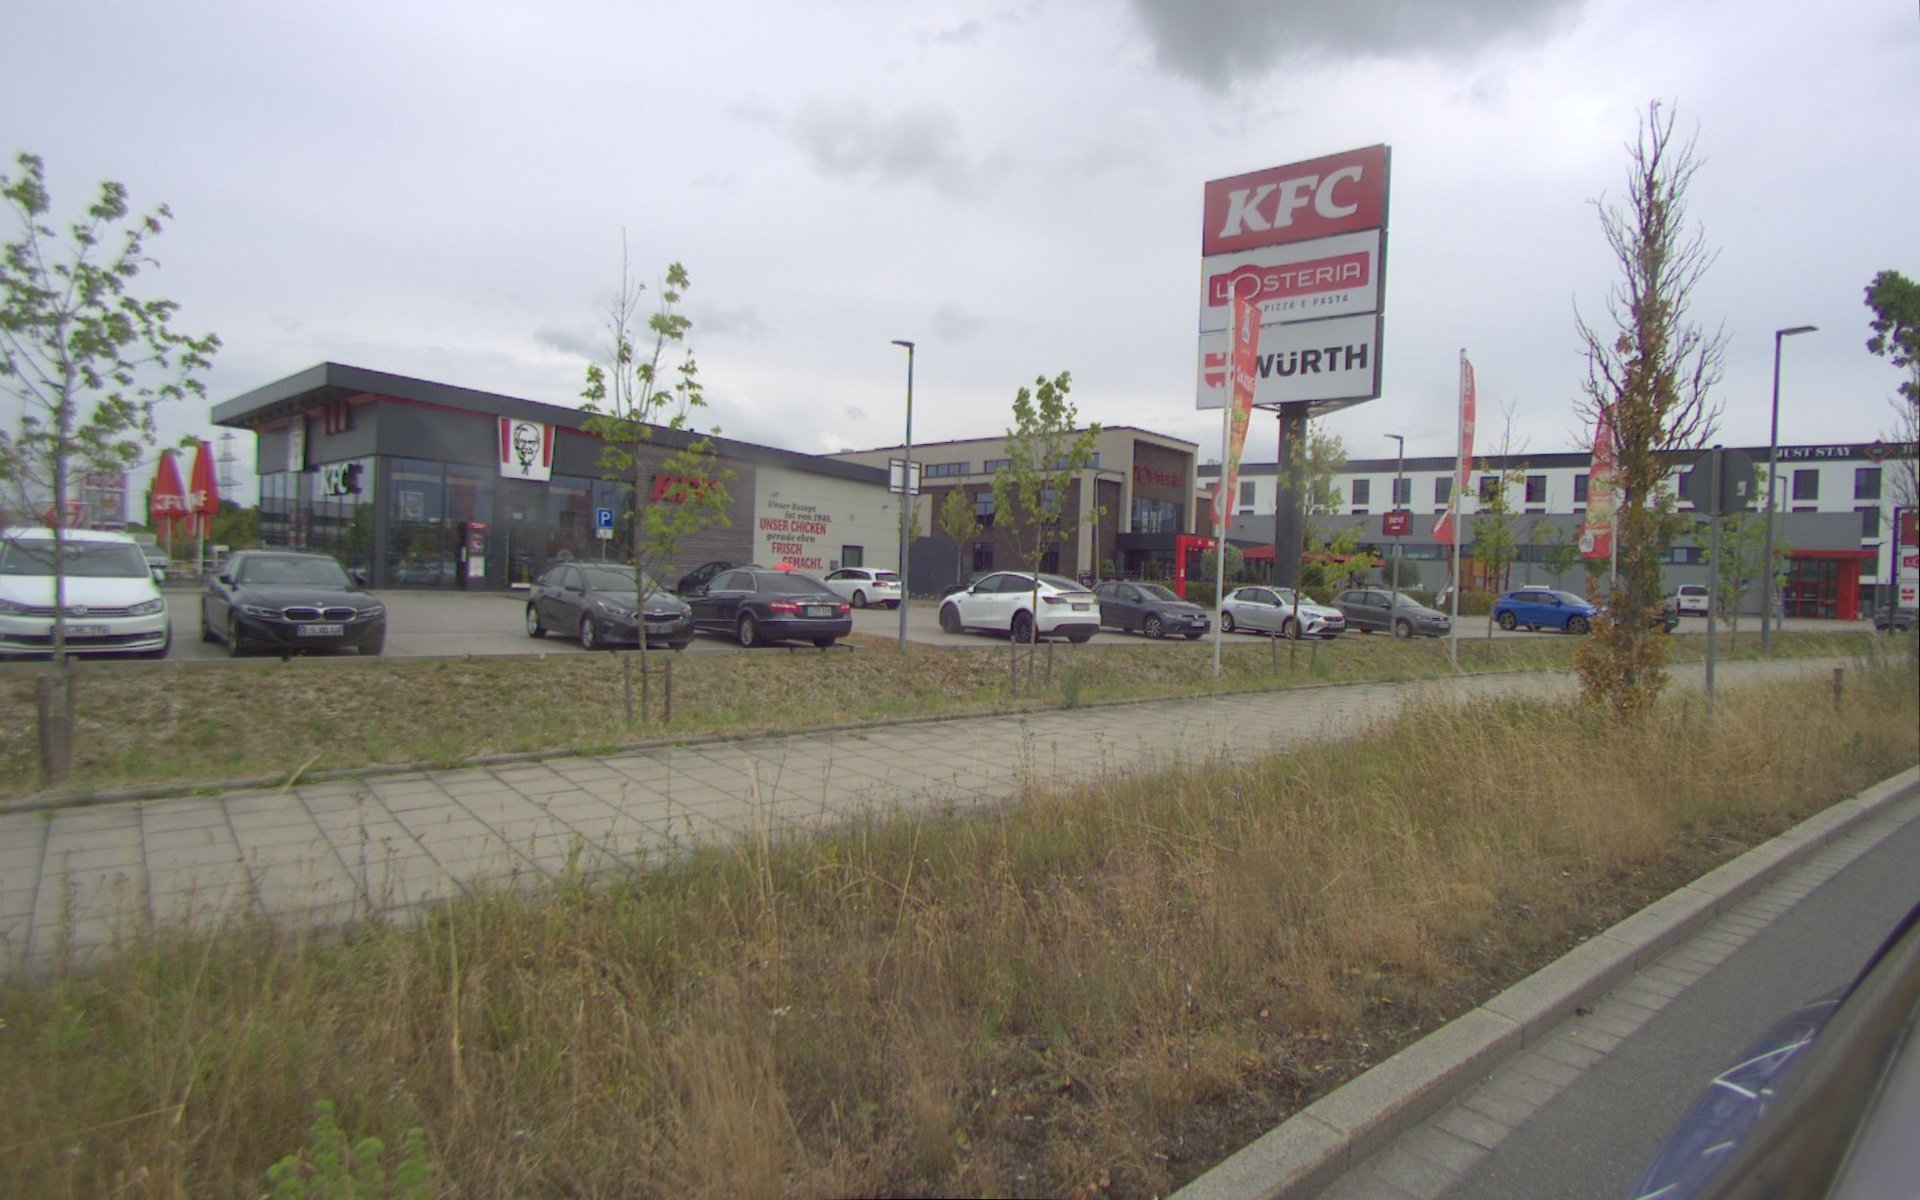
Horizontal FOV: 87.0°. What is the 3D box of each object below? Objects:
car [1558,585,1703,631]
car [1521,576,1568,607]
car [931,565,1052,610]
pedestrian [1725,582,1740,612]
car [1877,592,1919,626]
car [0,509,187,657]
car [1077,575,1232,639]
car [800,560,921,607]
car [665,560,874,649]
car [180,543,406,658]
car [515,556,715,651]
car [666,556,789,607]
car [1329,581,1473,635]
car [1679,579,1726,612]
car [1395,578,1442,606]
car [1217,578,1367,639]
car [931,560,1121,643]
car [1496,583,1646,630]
[{"bbox_3d":[24.564,0.259,37.235,1.940,1.512,4.008,1,1,-24],"label":"car"},{"bbox_3d":[34.417,-0.480,59.515,1.987,1.718,4.733,2,1,34],"label":"car"},{"bbox_3d":[1.188,-0.508,39.760,4.561,1.537,1.947,4,3,43],"label":"car"},{"bbox_3d":[48.582,-0.183,63.662,0.609,1.892,0.794,1,0,28],"label":"pedestrian"},{"bbox_3d":[44.426,0.453,46.400,4.733,1.478,1.971,1,1,-28],"label":"car"},{"bbox_3d":[-11.847,-0.270,13.390,4.348,1.660,1.907,3,2,44],"label":"car"},{"bbox_3d":[5.196,0.129,27.558,1.902,1.503,4.004,0,2,-32],"label":"car"},{"bbox_3d":[-3.794,-0.649,38.026,4.564,1.537,2.047,4,3,45],"label":"car"},{"bbox_3d":[-3.835,0.017,19.769,1.996,1.487,4.526,1,2,-41],"label":"car"},{"bbox_3d":[-10.061,-0.074,15.108,2.039,1.454,4.472,1,2,-44],"label":"car"},{"bbox_3d":[-6.285,0.004,18.178,1.910,1.456,4.090,1,2,-42],"label":"car"},{"bbox_3d":[-8.053,-0.672,34.821,4.364,1.537,2.016,4,3,43],"label":"car"},{"bbox_3d":[13.767,0.219,31.763,1.851,1.512,3.776,1,1,-29],"label":"car"},{"bbox_3d":[47.145,-0.296,64.347,1.985,2.012,4.584,2,1,32],"label":"car"},{"bbox_3d":[28.884,-0.481,63.674,1.973,1.649,4.273,2,1,35],"label":"car"},{"bbox_3d":[9.603,0.213,29.547,1.864,1.499,3.879,1,3,-31],"label":"car"},{"bbox_3d":[1.466,-0.042,24.235,2.049,1.665,4.577,1,3,-36],"label":"car"},{"bbox_3d":[22.022,0.197,36.664,1.925,1.539,4.284,1,1,-27],"label":"car"}]
